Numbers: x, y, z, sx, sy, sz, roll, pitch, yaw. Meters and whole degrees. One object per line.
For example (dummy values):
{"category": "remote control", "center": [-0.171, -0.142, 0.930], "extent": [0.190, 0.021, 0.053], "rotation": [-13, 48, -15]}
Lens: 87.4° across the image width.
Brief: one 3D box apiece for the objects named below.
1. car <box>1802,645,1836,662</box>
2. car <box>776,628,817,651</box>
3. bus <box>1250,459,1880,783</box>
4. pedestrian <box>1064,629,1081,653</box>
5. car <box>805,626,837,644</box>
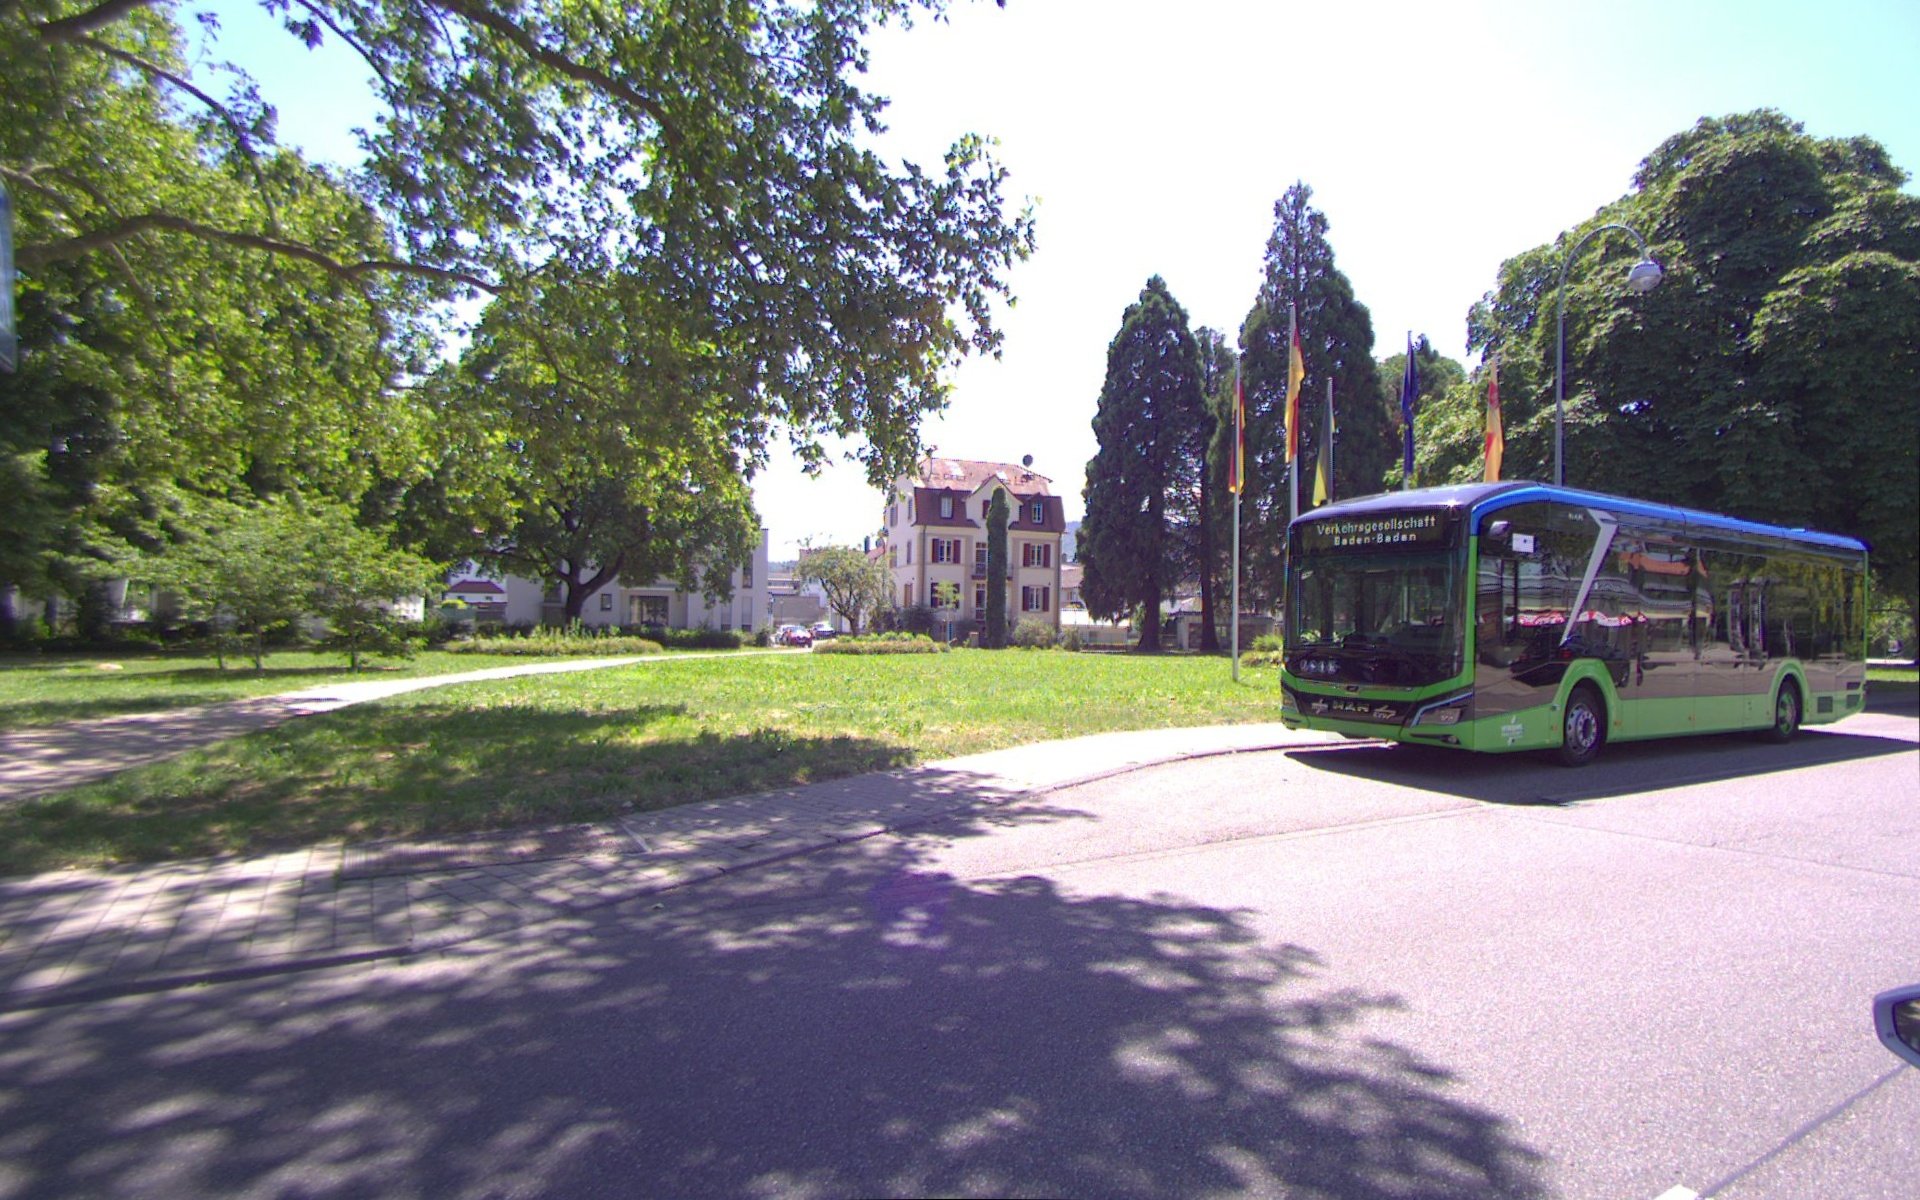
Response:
{"category": "car", "center": [75.415, 4.716, 88.153], "extent": [3.768, 1.429, 1.539], "rotation": [2, -2, -38]}
{"category": "car", "center": [-11.979, 2.894, 73.302], "extent": [1.973, 1.603, 3.977], "rotation": [3, -3, -24]}
{"category": "bus", "center": [9.587, 0.392, 14.799], "extent": [12.289, 3.326, 2.793], "rotation": [2, -1, -33]}
{"category": "pedestrian", "center": [6.795, 2.462, 60.547], "extent": [0.811, 1.389, 0.618], "rotation": [3, 0, 18]}
{"category": "car", "center": [-13.718, 3.469, 98.999], "extent": [1.973, 1.603, 3.977], "rotation": [3, -3, -24]}
